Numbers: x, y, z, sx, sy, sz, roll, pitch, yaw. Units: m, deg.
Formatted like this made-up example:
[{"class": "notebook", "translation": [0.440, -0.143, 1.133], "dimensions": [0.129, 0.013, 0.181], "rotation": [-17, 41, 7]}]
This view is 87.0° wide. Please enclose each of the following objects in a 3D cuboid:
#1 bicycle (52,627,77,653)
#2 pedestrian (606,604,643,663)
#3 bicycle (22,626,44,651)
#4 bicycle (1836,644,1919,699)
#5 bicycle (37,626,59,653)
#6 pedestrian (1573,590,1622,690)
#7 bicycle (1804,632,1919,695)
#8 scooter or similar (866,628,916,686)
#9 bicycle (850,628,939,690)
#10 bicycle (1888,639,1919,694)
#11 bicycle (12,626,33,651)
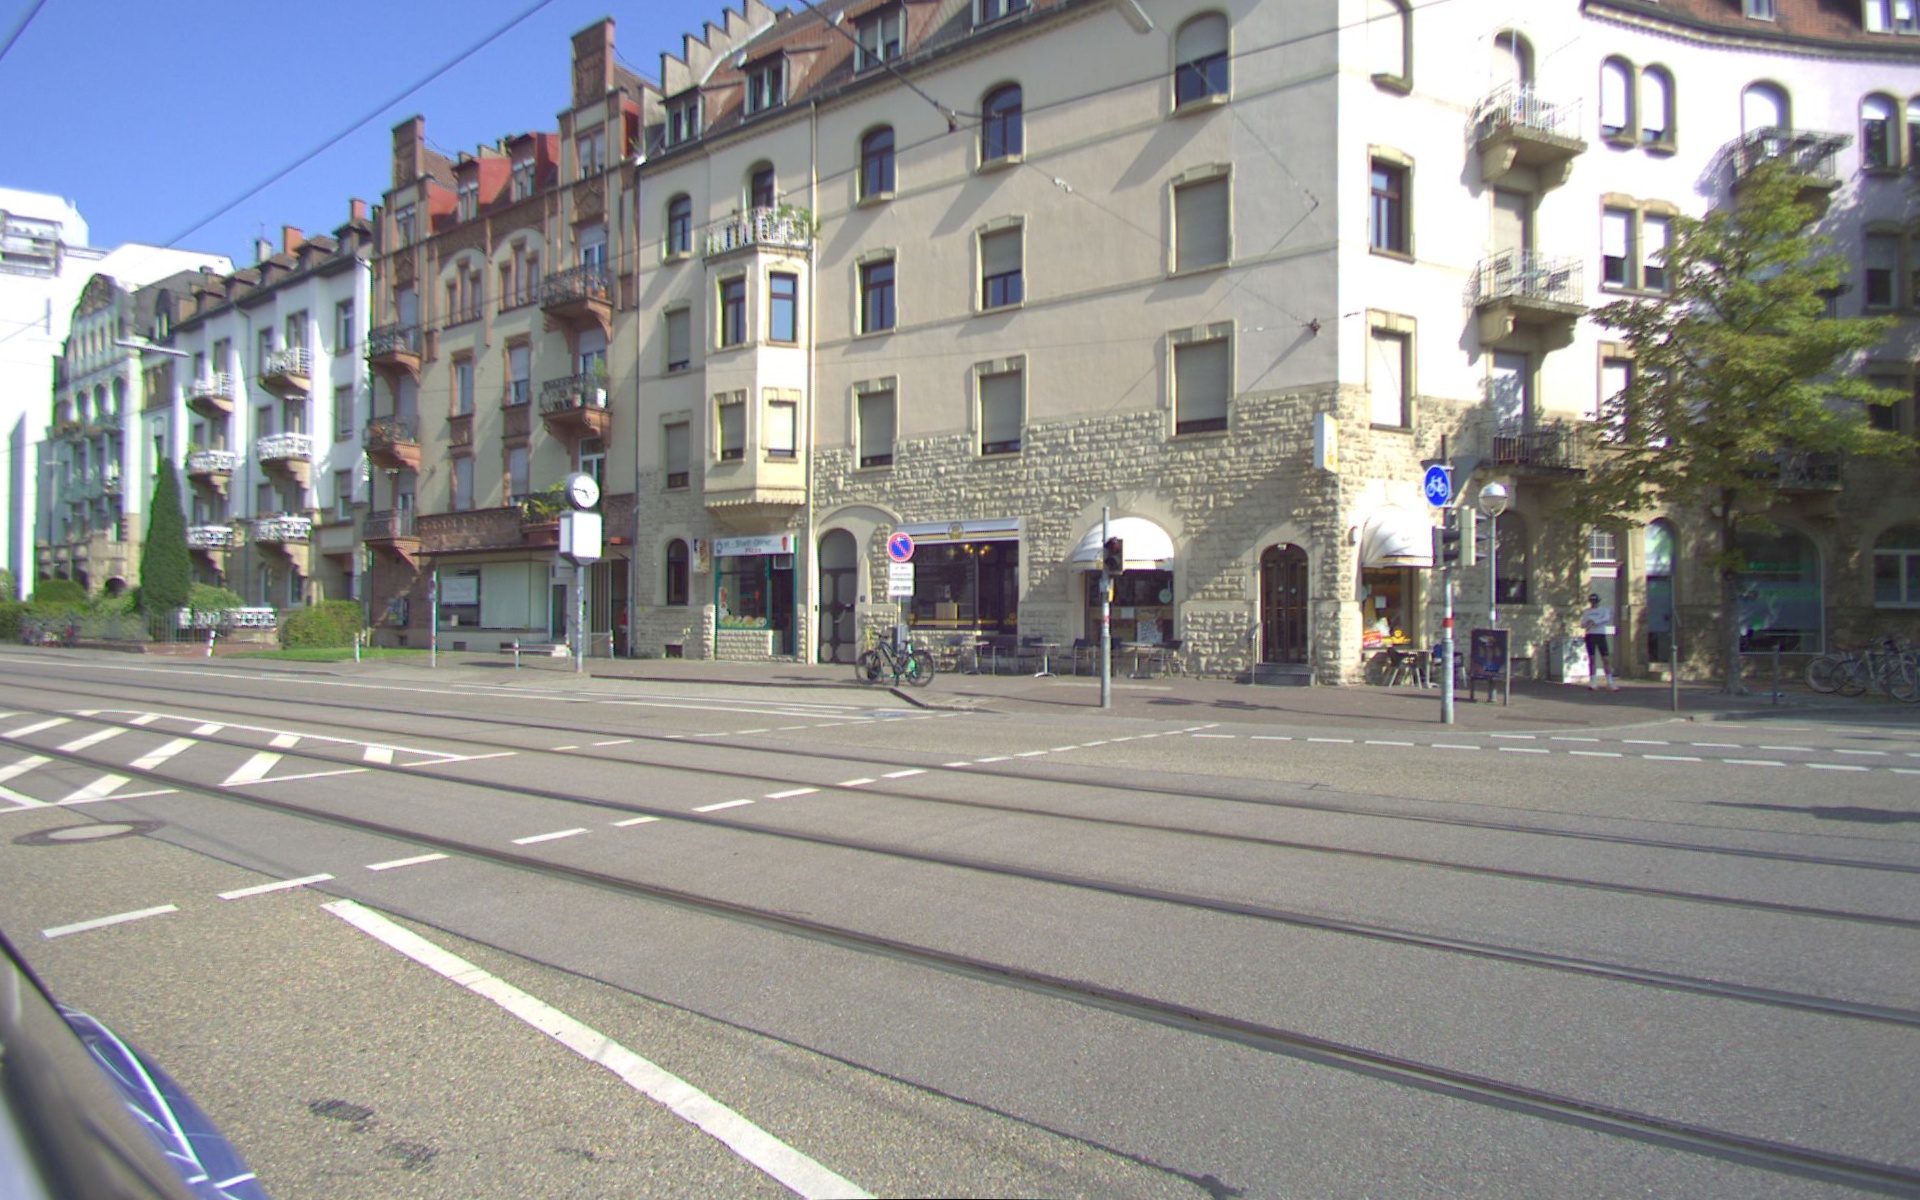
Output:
[{"class": "bicycle", "translation": [-37.330, 1.661, 42.182], "dimensions": [1.483, 1.096, 0.367], "rotation": [-1, -2, 34]}, {"class": "pedestrian", "translation": [-10.877, 1.076, 32.843], "dimensions": [0.772, 1.874, 0.823], "rotation": [-1, -2, 27]}, {"class": "bicycle", "translation": [-41.028, 1.713, 44.786], "dimensions": [1.351, 1.096, 0.367], "rotation": [-1, -2, 34]}, {"class": "bicycle", "translation": [17.156, 1.305, 18.545], "dimensions": [0.471, 0.927, 1.614], "rotation": [1, -1, -26]}, {"class": "bicycle", "translation": [-38.843, 1.677, 43.102], "dimensions": [1.351, 1.096, 0.367], "rotation": [-1, -2, 34]}, {"class": "pedestrian", "translation": [12.563, 0.777, 19.934], "dimensions": [0.774, 1.907, 0.883], "rotation": [-1, -2, 34]}, {"class": "bicycle", "translation": [17.467, 1.203, 19.407], "dimensions": [0.560, 1.121, 1.883], "rotation": [1, -1, -35]}, {"class": "scooter or similar", "translation": [-1.478, 1.199, 21.551], "dimensions": [1.017, 1.206, 0.367], "rotation": [0, -1, -12]}, {"class": "bicycle", "translation": [-1.354, 1.189, 20.774], "dimensions": [1.846, 1.236, 0.450], "rotation": [-1, -2, 25]}, {"class": "bicycle", "translation": [18.581, 1.269, 18.840], "dimensions": [0.560, 1.011, 1.884], "rotation": [1, -1, -20]}, {"class": "bicycle", "translation": [-42.462, 1.748, 45.818], "dimensions": [1.351, 1.096, 0.367], "rotation": [-1, -2, 34]}]
